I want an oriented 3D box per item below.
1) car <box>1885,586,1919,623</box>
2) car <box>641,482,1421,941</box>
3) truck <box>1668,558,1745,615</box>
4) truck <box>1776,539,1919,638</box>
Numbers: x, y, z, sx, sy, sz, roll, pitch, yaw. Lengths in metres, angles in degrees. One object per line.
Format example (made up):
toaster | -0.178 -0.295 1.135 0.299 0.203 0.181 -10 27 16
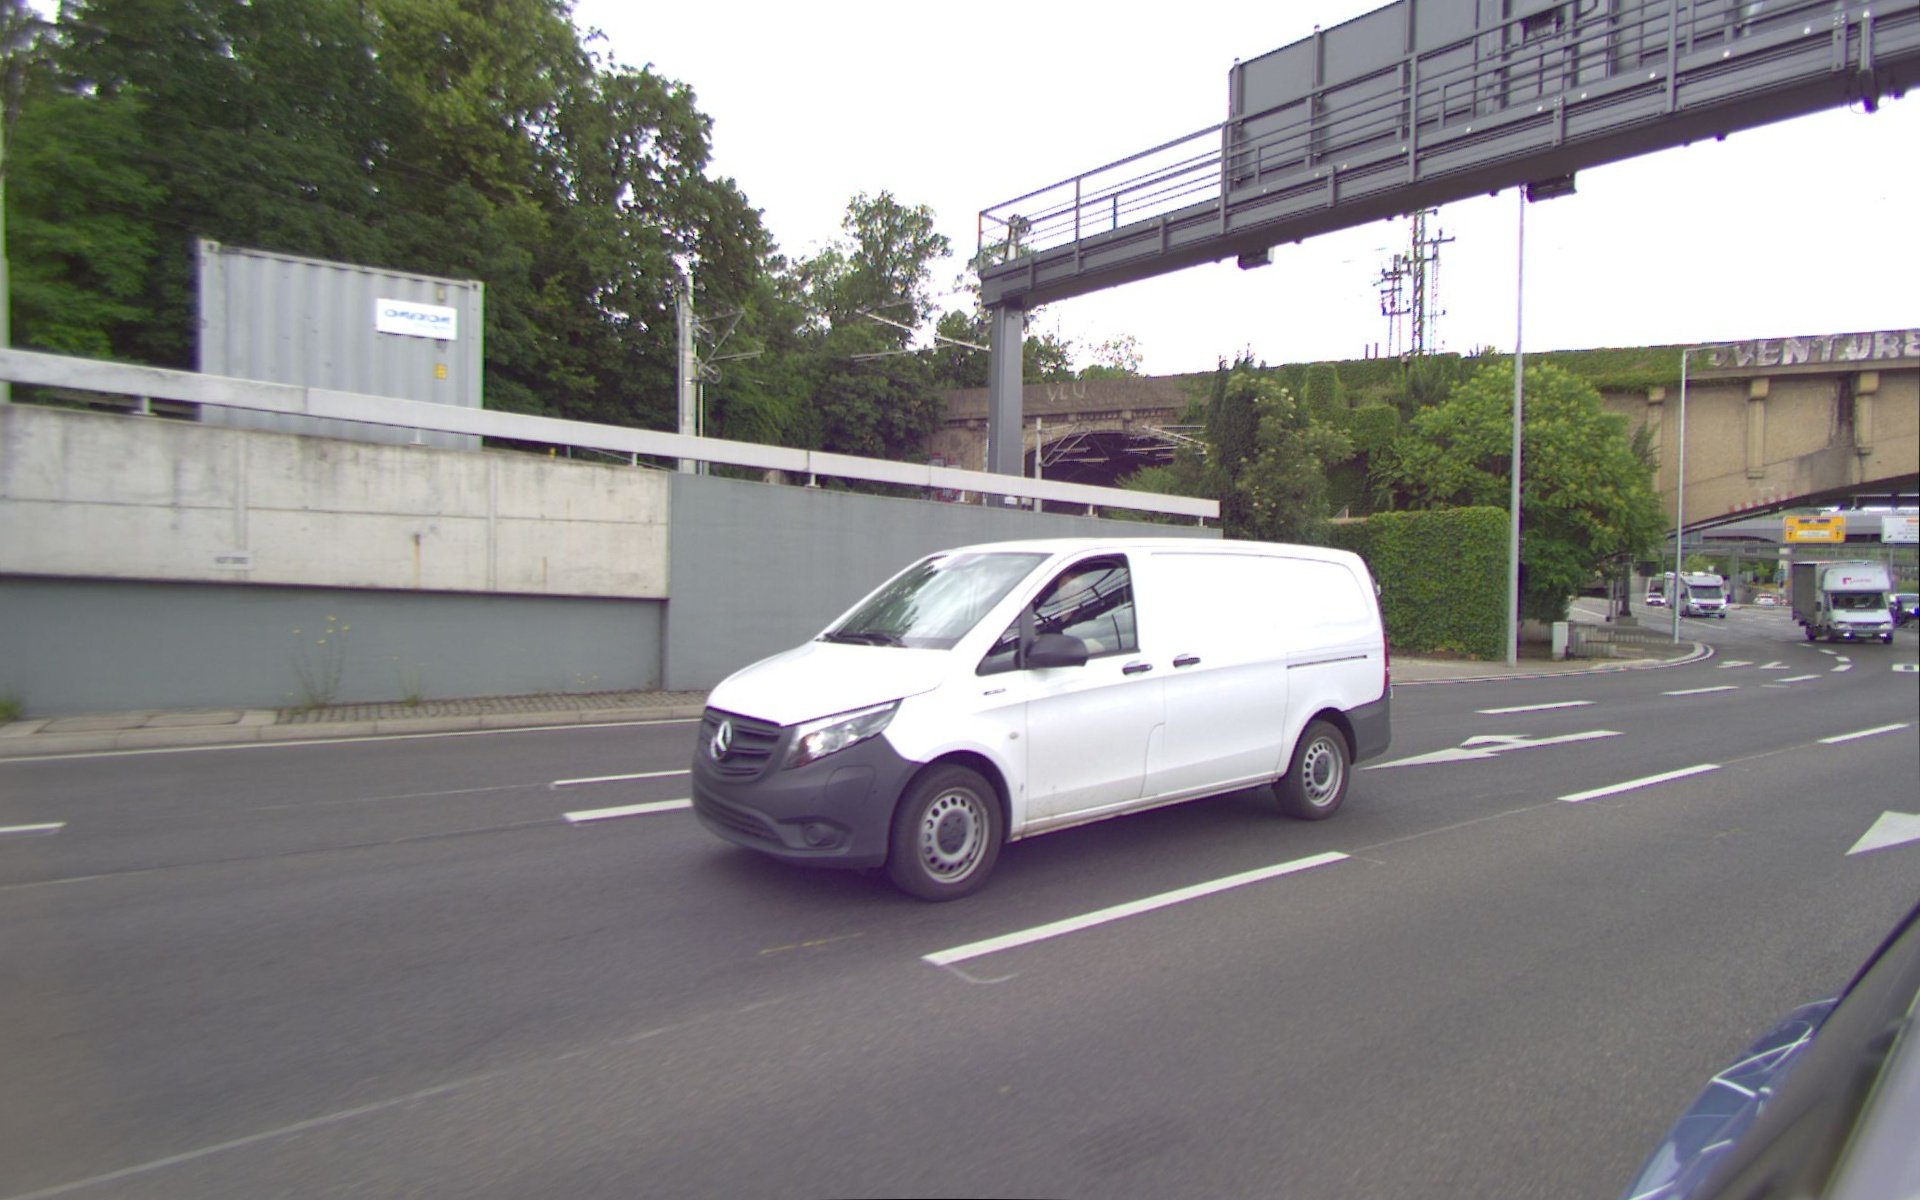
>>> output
car | 50.176 0.227 52.860 1.853 1.861 4.162 0 1 30
car | 0.730 0.467 6.751 5.101 2.015 2.000 -1 0 -36
truck | 50.679 -0.917 68.913 2.549 3.613 9.034 0 0 26
truck | 37.152 -0.428 42.070 3.005 3.633 8.866 -3 -1 27
